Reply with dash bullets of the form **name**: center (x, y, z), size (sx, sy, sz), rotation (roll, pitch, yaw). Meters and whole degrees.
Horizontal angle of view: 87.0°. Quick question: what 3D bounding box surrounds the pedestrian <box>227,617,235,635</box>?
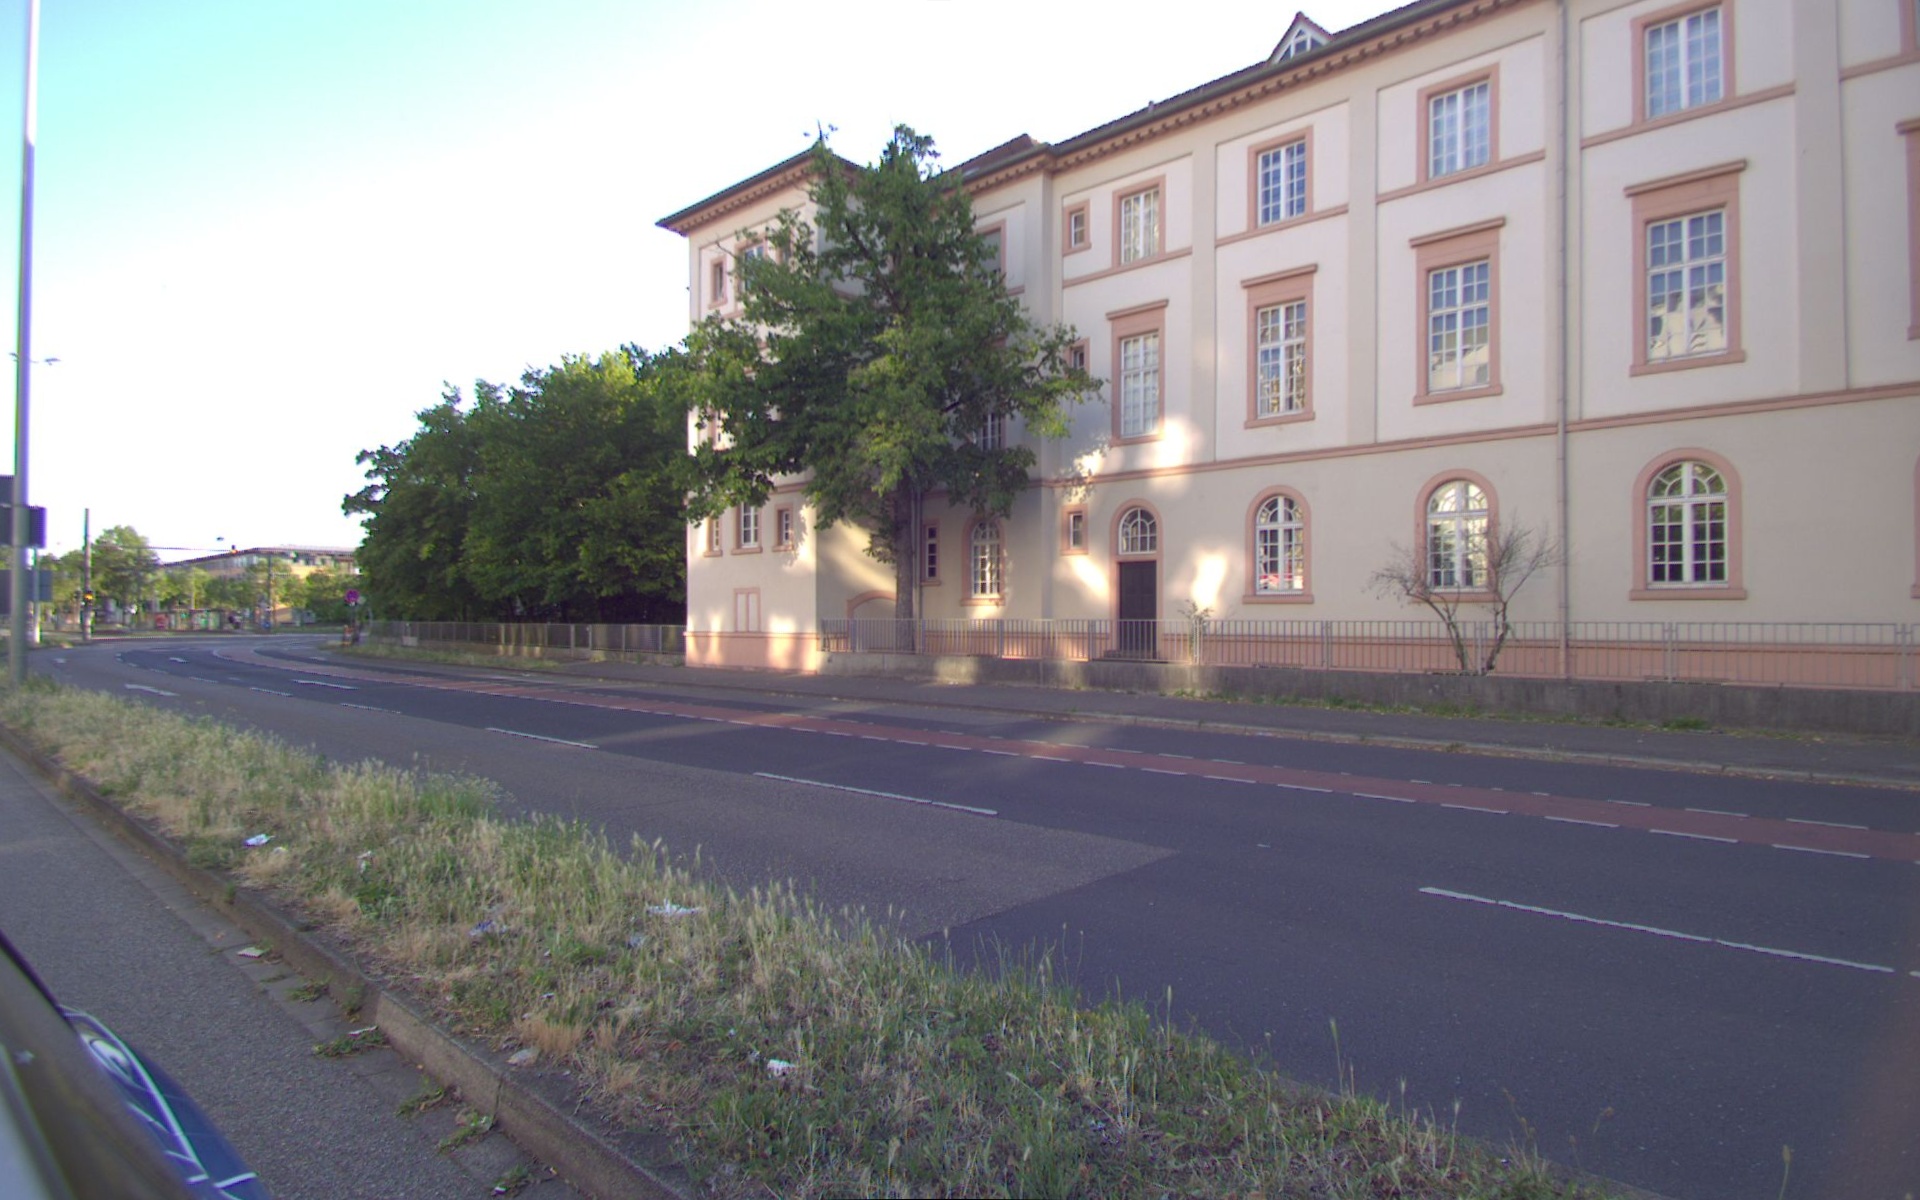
- **pedestrian**: center (-81.129, 2.912, 112.682), size (0.664, 2.029, 0.549), rotation (-1, -2, 41)

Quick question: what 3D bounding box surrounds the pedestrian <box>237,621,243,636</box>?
- **pedestrian**: center (-80.439, 3.207, 113.101), size (0.419, 1.718, 0.461), rotation (-1, -2, 41)
